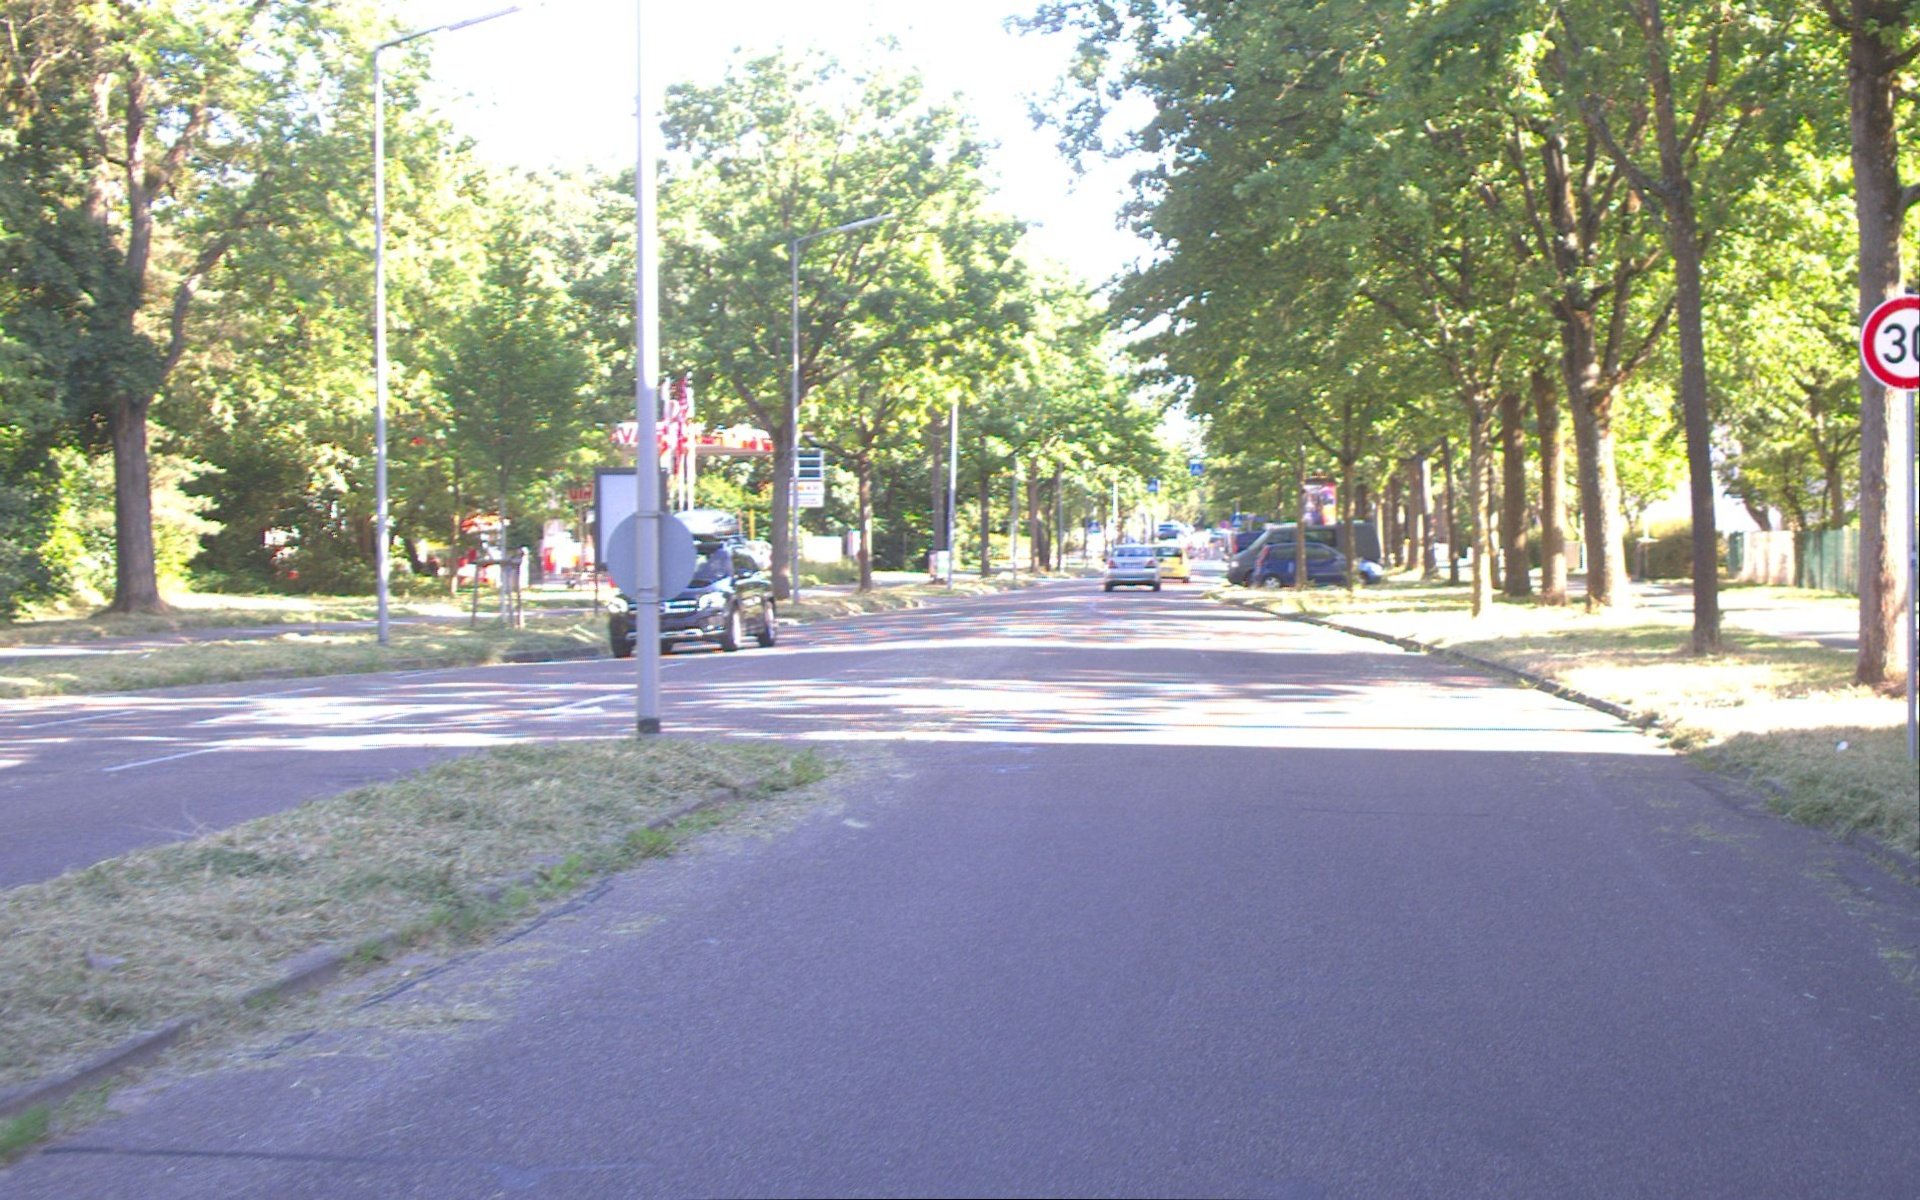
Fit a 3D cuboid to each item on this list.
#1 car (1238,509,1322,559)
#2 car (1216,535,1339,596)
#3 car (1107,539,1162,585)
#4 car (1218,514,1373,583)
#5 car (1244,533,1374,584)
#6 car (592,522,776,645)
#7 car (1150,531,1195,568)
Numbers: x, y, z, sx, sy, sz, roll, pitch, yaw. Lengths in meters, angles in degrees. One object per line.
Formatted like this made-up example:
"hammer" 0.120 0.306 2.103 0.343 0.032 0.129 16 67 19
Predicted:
"car" 14.071 -2.886 151.261 3.568 2.044 1.632 -1 -3 4
"car" 9.633 -1.052 104.445 3.653 1.791 1.317 -1 -1 4
"car" 5.400 -1.153 106.294 1.661 1.332 3.664 -1 0 3
"car" 9.920 -1.525 101.884 4.503 1.946 1.687 -1 -1 4
"car" 10.040 -1.197 98.938 3.653 1.393 1.317 -1 -1 4
"car" -4.025 -0.265 50.838 1.840 1.702 4.503 -1 1 7
"car" 8.102 -1.921 131.380 1.661 1.332 3.664 -1 0 3
